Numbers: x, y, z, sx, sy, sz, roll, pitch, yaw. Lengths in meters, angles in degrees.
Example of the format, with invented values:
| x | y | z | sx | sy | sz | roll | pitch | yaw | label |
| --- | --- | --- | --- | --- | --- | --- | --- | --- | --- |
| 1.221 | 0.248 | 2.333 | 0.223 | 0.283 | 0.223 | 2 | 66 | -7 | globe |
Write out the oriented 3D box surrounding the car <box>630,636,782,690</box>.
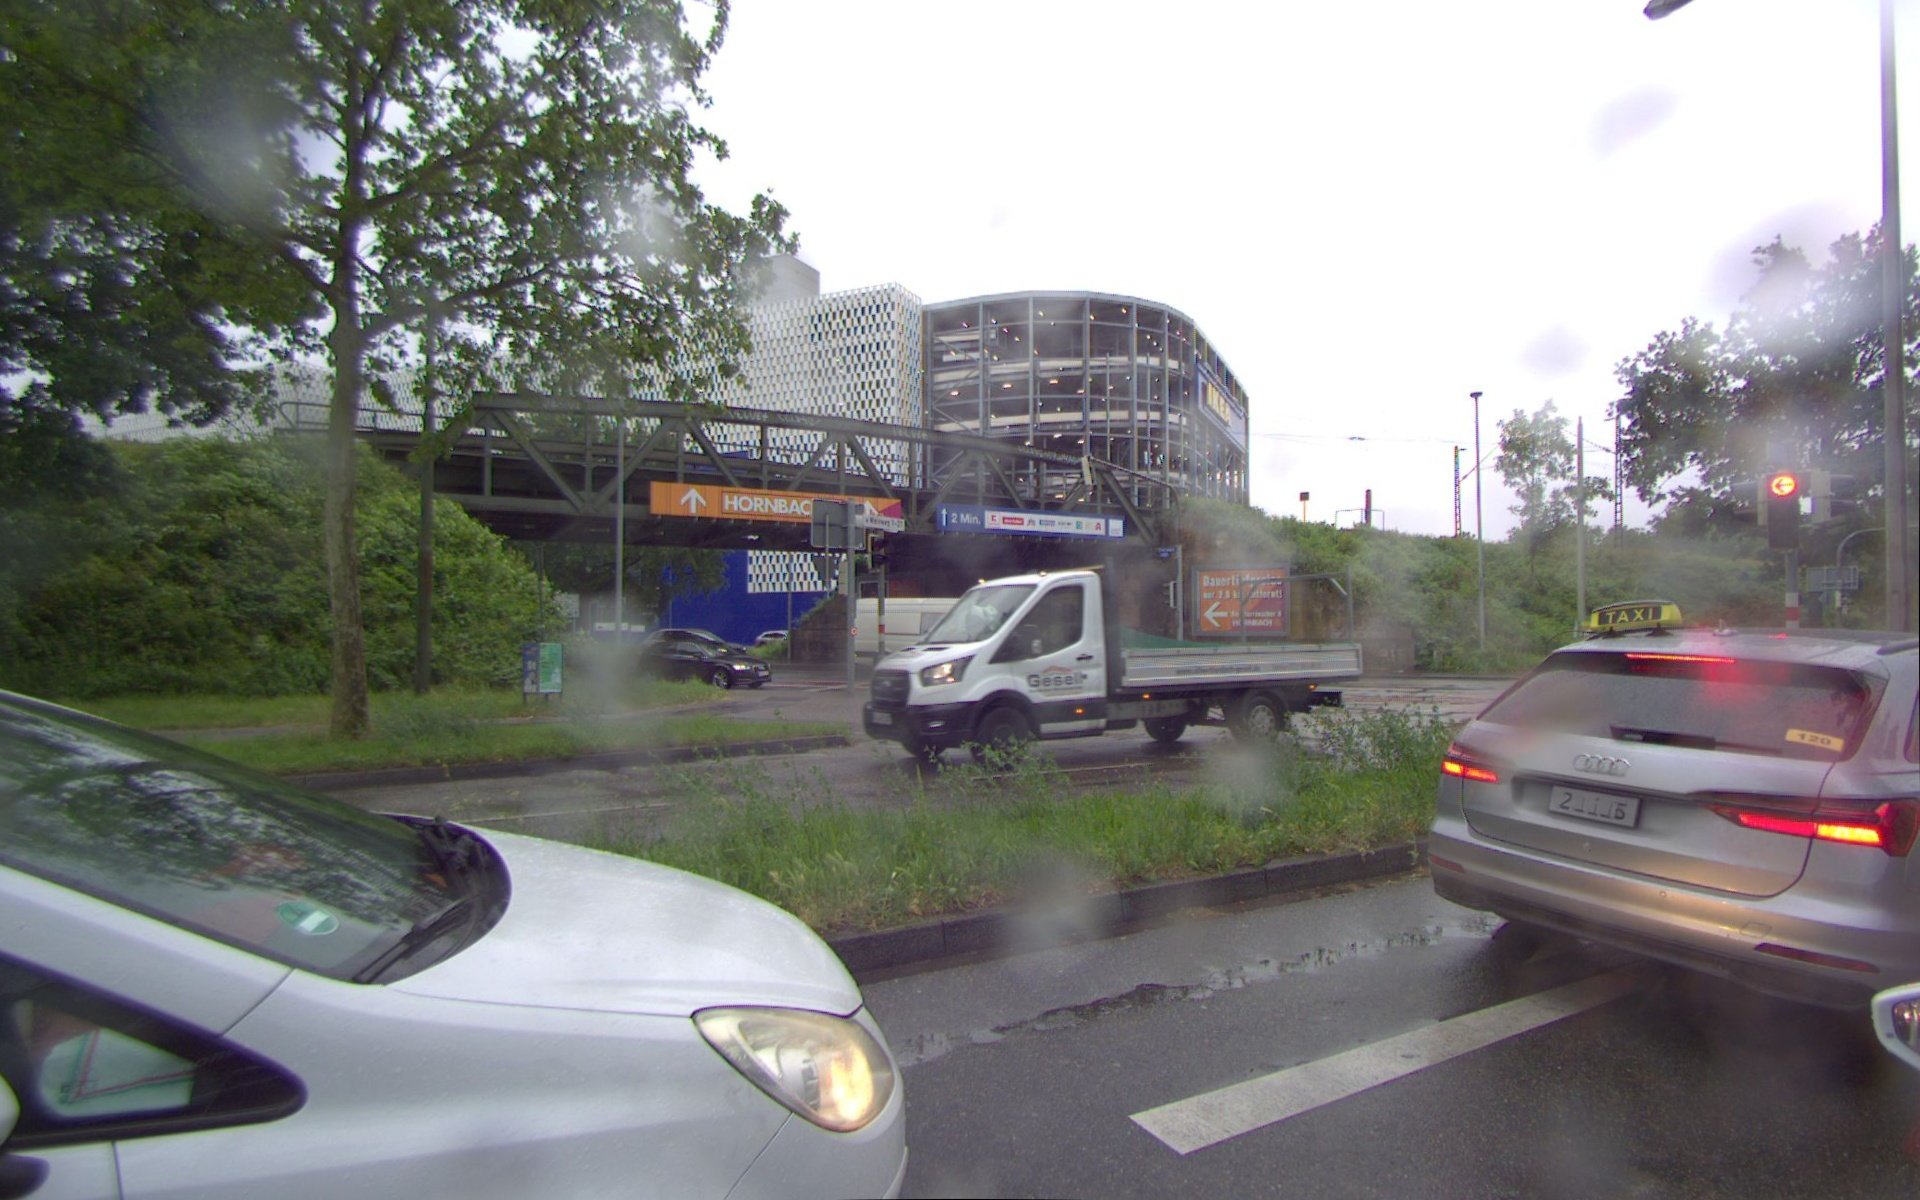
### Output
| x | y | z | sx | sy | sz | roll | pitch | yaw | label |
| --- | --- | --- | --- | --- | --- | --- | --- | --- | --- |
| -7.383 | 1.804 | 29.184 | 4.067 | 1.453 | 1.693 | -1 | -1 | 23 | car |

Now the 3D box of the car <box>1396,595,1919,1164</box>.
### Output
| x | y | z | sx | sy | sz | roll | pitch | yaw | label |
| --- | --- | --- | --- | --- | --- | --- | --- | --- | --- |
| 4.351 | 0.832 | 4.769 | 4.766 | 1.595 | 1.760 | 1 | 0 | -31 | car |

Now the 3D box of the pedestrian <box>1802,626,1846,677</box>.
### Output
| x | y | z | sx | sy | sz | roll | pitch | yaw | label |
| --- | --- | --- | --- | --- | --- | --- | --- | --- | --- |
| 32.298 | 1.924 | 37.546 | 1.122 | 1.871 | 1.092 | 2 | -2 | -41 | pedestrian |

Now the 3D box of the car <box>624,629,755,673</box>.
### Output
| x | y | z | sx | sy | sz | roll | pitch | yaw | label |
| --- | --- | --- | --- | --- | --- | --- | --- | --- | --- |
| -10.582 | 1.973 | 39.271 | 4.858 | 1.621 | 1.882 | -1 | -2 | 24 | car |

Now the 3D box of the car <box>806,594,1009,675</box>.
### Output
| x | y | z | sx | sy | sz | roll | pitch | yaw | label |
| --- | --- | --- | --- | --- | --- | --- | --- | --- | --- |
| -1.892 | 1.196 | 35.391 | 6.847 | 2.645 | 2.386 | -1 | -2 | 25 | car |

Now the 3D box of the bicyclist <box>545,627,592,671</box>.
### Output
| x | y | z | sx | sy | sz | roll | pitch | yaw | label |
| --- | --- | --- | --- | --- | --- | --- | --- | --- | --- |
| -13.835 | 1.724 | 35.486 | 1.037 | 1.503 | 1.152 | -1 | -2 | 25 | bicyclist |

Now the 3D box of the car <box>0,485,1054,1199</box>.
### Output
| x | y | z | sx | sy | sz | roll | pitch | yaw | label |
| --- | --- | --- | --- | --- | --- | --- | --- | --- | --- |
| -1.960 | 0.560 | 1.386 | 3.966 | 1.395 | 1.669 | 1 | 0 | -32 | car |

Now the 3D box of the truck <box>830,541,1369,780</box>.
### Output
| x | y | z | sx | sy | sz | roll | pitch | yaw | label |
| --- | --- | --- | --- | --- | --- | --- | --- | --- | --- |
| 1.953 | 0.715 | 12.854 | 6.786 | 2.396 | 2.463 | 1 | -2 | -30 | truck |
